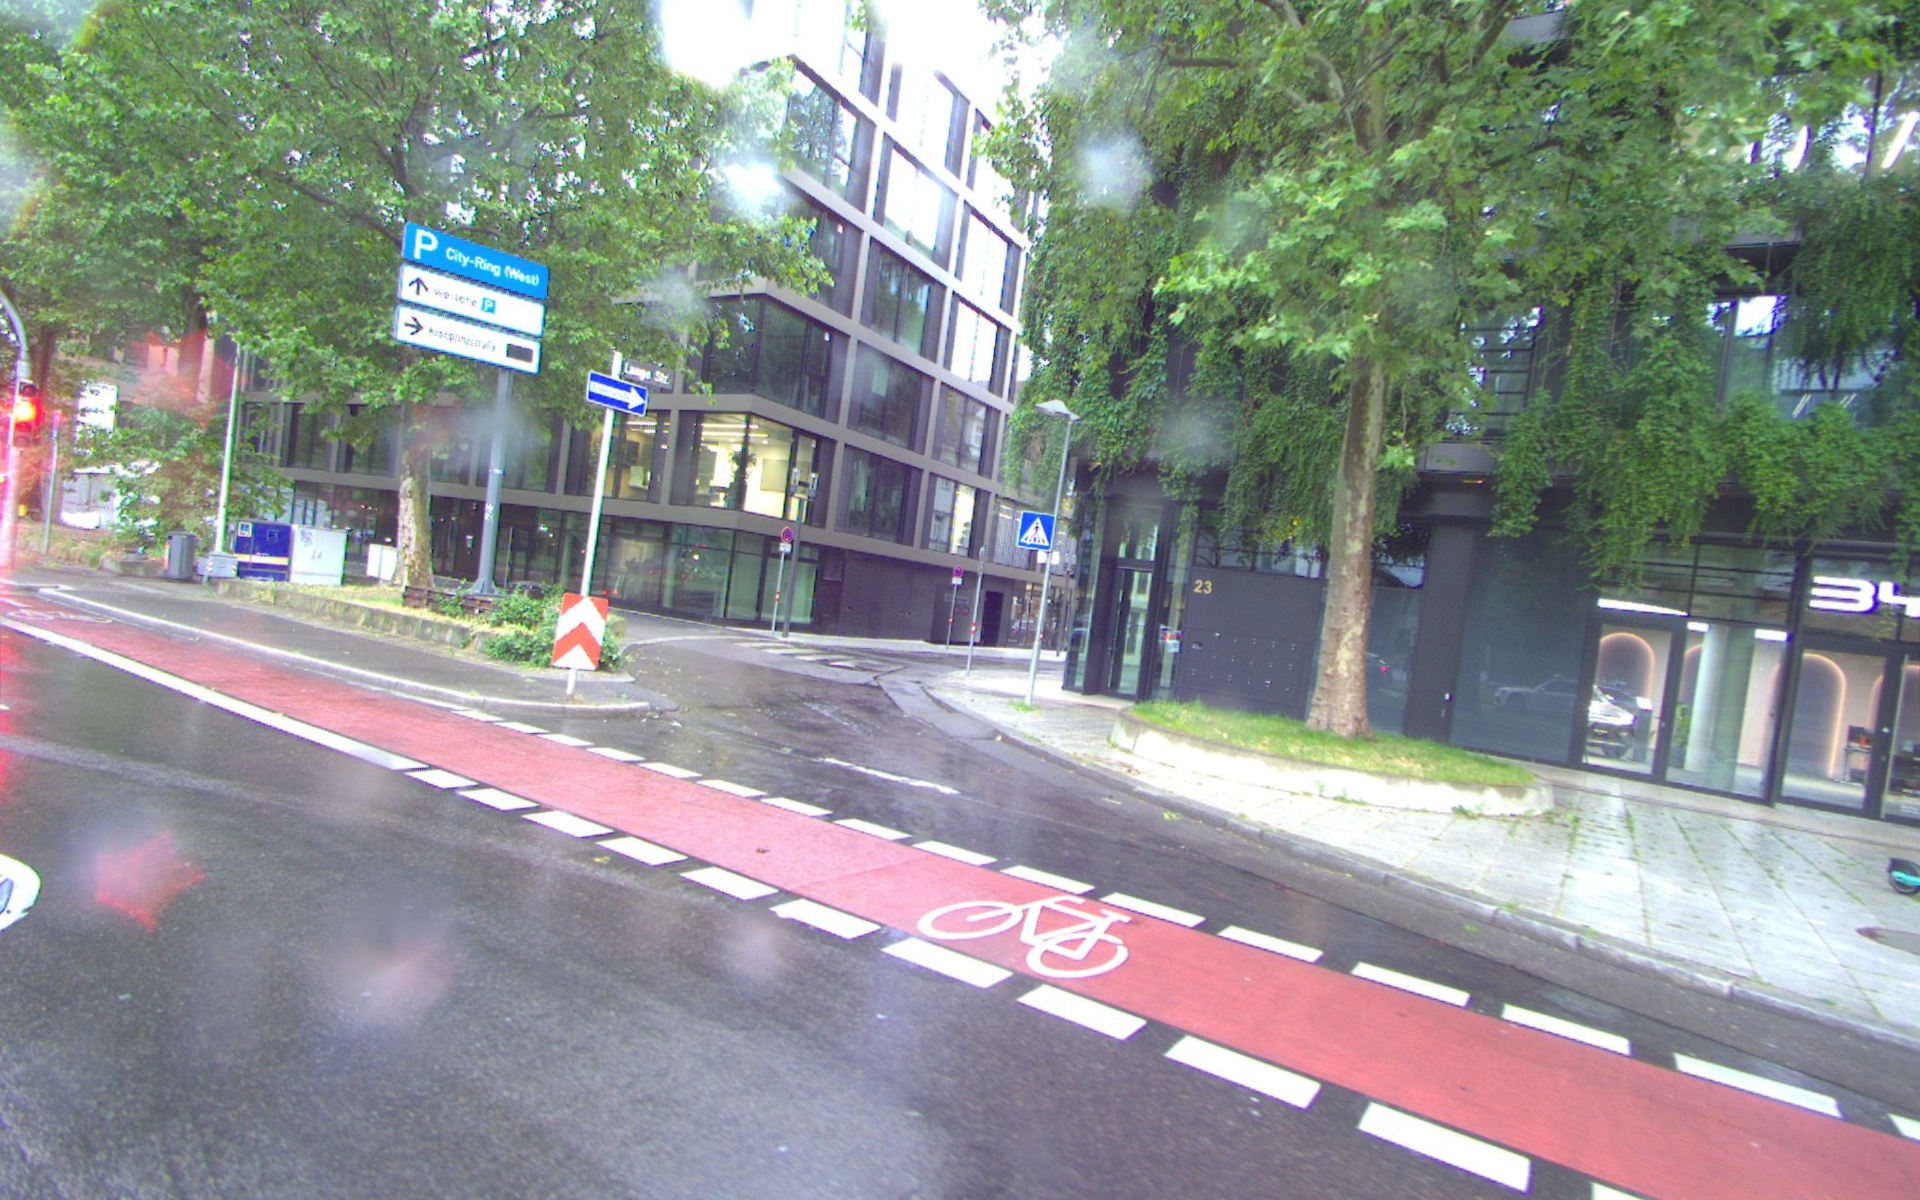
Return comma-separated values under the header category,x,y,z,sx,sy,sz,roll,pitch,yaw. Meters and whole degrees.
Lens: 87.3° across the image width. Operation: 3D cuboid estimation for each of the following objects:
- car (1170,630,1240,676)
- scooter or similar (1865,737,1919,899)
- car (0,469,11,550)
category,x,y,z,sx,sy,sz,roll,pitch,yaw
car,10.779,2.344,44.022,1.814,1.607,3.997,6,-2,30
scooter or similar,8.299,1.863,8.213,0.528,1.297,1.183,7,-1,-8
car,-12.352,-0.791,10.975,3.935,1.717,1.881,6,-2,33
